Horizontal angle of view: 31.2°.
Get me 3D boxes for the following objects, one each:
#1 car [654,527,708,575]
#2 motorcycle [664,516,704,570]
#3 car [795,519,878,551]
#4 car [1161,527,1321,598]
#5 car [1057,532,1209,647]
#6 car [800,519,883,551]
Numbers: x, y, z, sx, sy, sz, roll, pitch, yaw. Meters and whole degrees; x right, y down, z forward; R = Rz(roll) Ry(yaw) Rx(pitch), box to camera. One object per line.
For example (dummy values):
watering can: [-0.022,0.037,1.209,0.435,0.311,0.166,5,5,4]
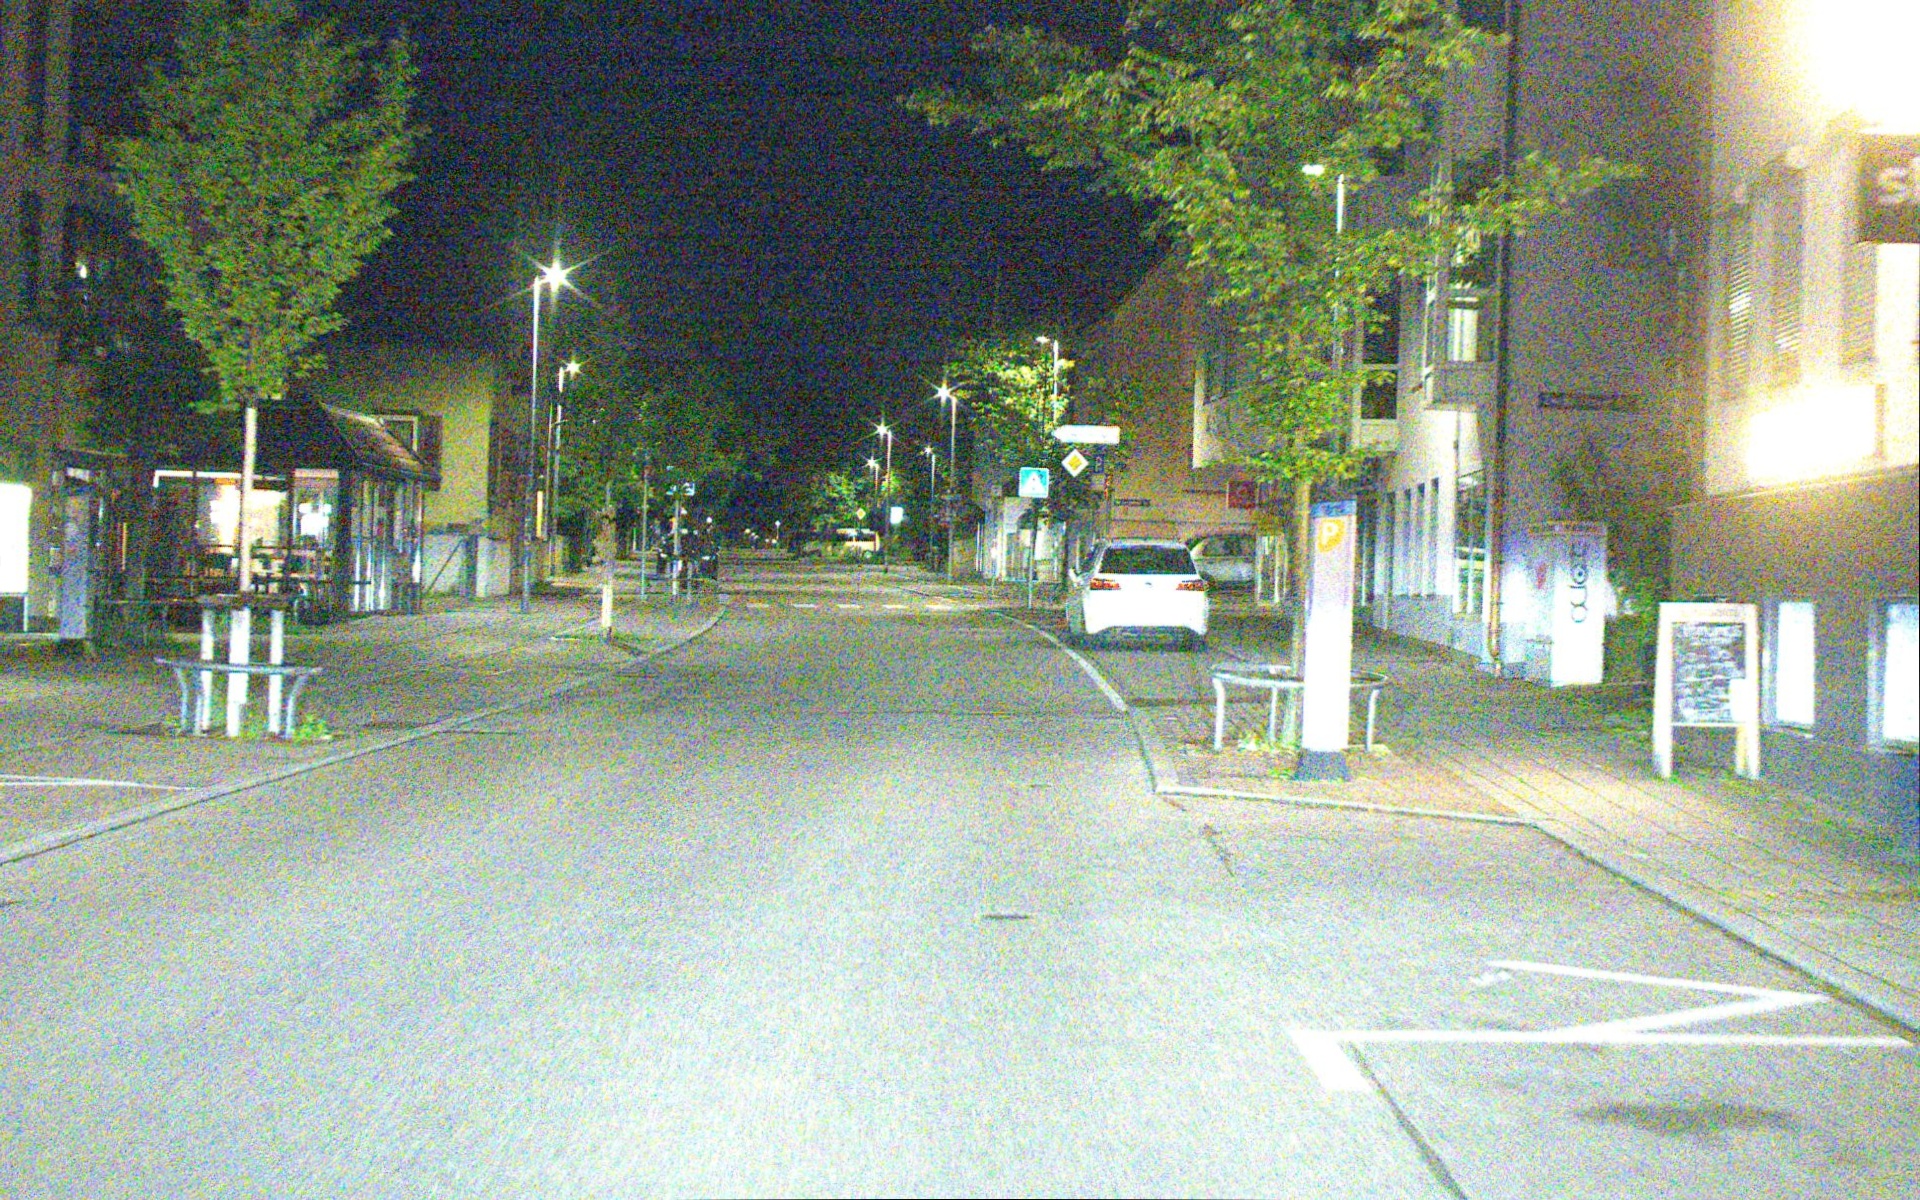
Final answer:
car: [-9.125,-1.610,112.613,1.688,1.505,4.279,1,1,-4]
motorcycle: [-7.464,-1.548,93.042,0.746,1.447,2.195,1,1,4]
car: [-7.834,-4.116,217.939,5.181,2.007,2.102,-1,1,-5]
car: [6.705,-0.904,82.282,3.505,1.519,1.821,-2,1,-5]
car: [2.412,-0.182,48.814,1.742,1.563,4.209,0,1,-3]
car: [-7.630,-4.207,221.028,5.181,2.007,2.102,-1,1,-5]
